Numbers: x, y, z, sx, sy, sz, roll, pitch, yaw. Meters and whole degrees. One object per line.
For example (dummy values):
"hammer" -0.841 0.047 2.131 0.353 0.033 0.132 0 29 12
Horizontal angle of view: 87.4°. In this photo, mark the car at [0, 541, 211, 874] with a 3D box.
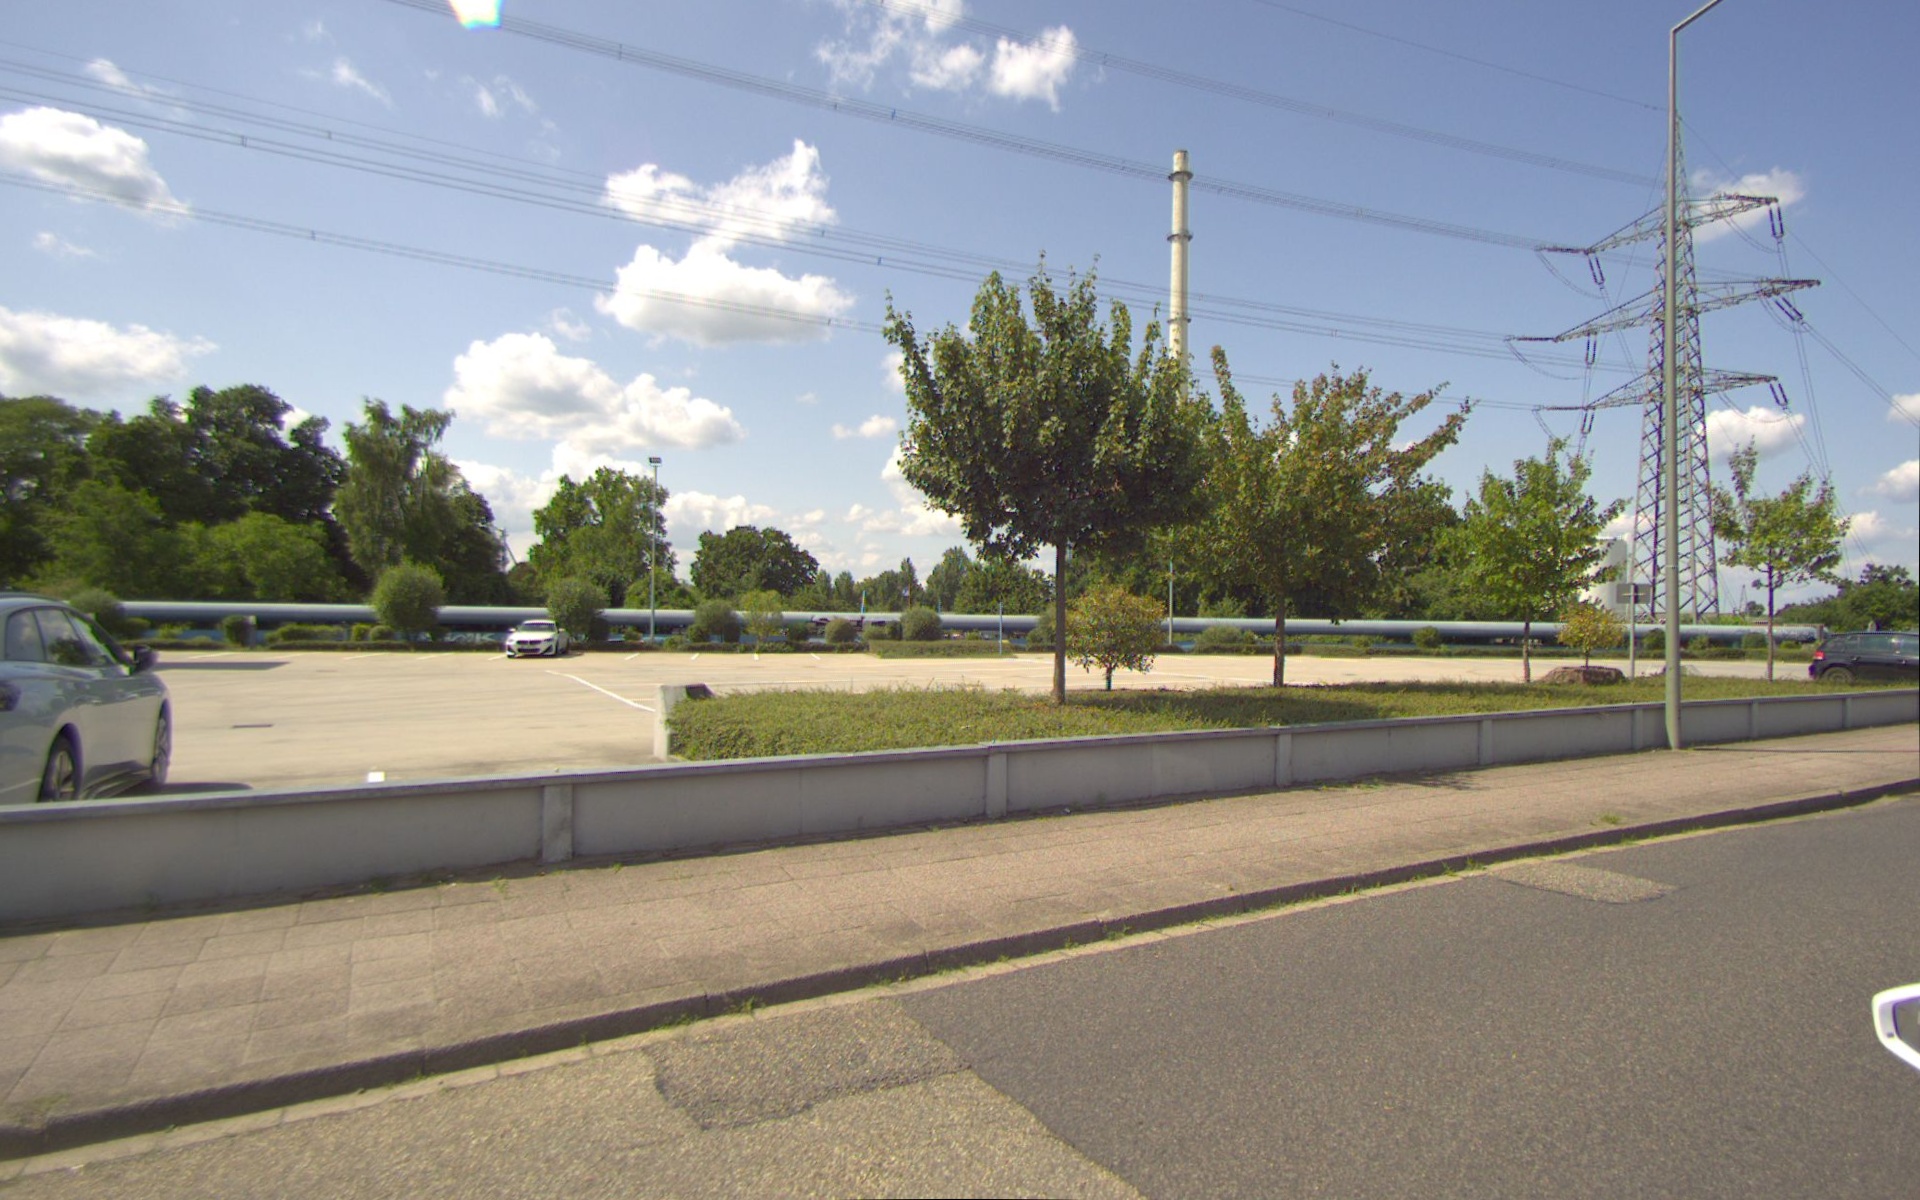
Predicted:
"car" -6.535 0.515 6.560 1.976 1.624 4.734 1 -1 -29

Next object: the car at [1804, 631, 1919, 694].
"car" 22.312 1.441 23.195 1.782 1.394 3.969 1 -1 -30

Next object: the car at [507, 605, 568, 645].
"car" -16.678 0.981 39.805 1.774 1.493 3.813 1 -1 -16
